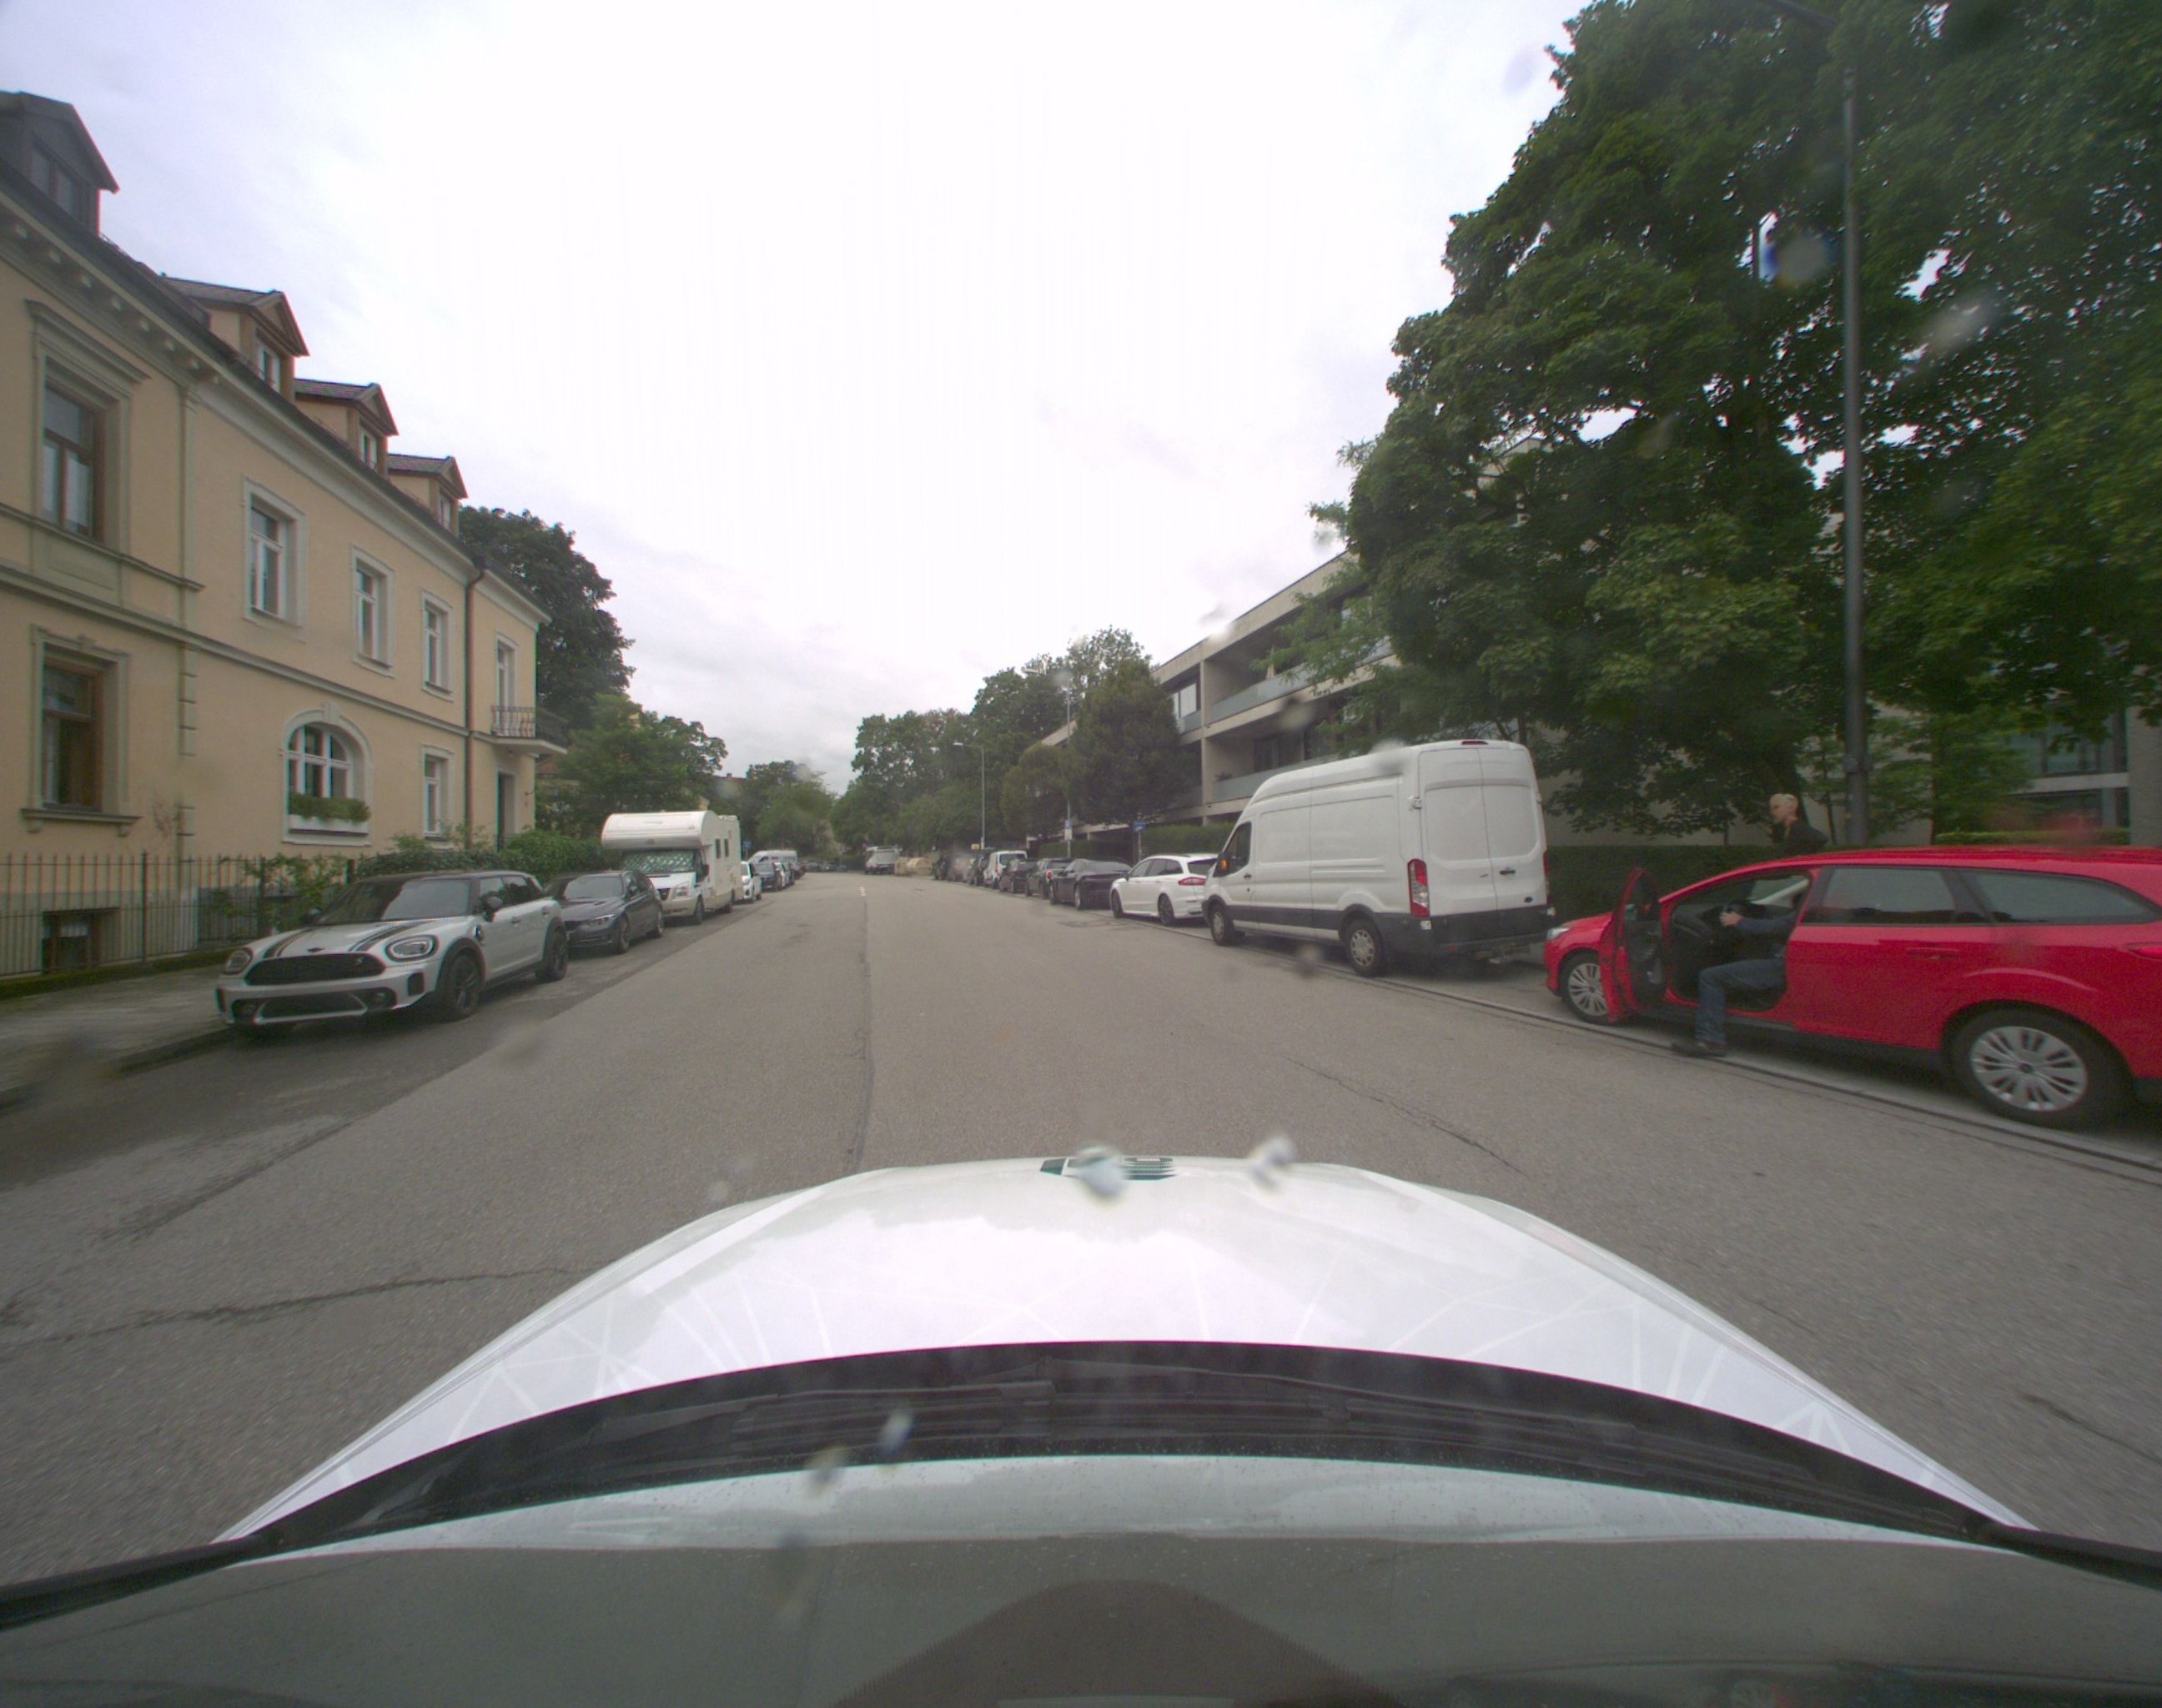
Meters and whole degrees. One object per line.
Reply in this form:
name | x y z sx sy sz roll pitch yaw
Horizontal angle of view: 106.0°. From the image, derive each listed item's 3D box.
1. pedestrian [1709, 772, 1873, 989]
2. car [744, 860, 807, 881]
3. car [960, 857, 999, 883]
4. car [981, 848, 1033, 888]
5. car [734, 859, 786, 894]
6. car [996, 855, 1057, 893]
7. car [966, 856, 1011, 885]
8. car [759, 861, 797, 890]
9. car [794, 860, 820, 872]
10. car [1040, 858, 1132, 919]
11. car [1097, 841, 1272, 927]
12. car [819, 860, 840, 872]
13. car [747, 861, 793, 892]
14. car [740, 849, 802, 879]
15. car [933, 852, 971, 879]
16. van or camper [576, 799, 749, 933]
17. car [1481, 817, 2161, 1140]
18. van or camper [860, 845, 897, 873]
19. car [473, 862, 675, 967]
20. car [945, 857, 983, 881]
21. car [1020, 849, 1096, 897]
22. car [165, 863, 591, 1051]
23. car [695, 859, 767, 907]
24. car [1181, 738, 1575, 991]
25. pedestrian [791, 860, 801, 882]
pedestrian | 6.624 0.229 7.644 0.795 1.903 0.862 0 0 -9
car | -23.769 1.261 63.348 4.358 1.530 1.915 -1 -2 -30
car | -6.231 0.967 49.733 1.752 1.480 3.866 -1 0 -16
car | -3.736 0.660 40.344 1.825 1.860 4.874 1 0 -14
car | -15.921 1.084 40.543 1.849 1.535 4.417 -3 0 -15
car | -2.390 0.797 34.645 1.751 1.464 4.219 -1 0 -16
car | -5.180 0.875 45.259 1.751 1.480 4.573 0 0 -16
car | -18.489 1.269 49.882 1.850 1.535 4.535 -3 0 -17
car | -39.921 1.741 118.723 2.010 1.711 4.828 -2 0 -39
car | 0.011 0.914 24.164 1.284 1.506 5.179 -3 1 -16
car | 2.108 0.564 18.350 1.876 1.569 4.970 -3 1 -19
car | -34.572 1.640 111.877 1.753 1.536 2.912 -2 0 -39
car | -17.183 1.209 45.168 1.849 1.535 4.497 -3 0 -15
car | -27.870 0.868 73.401 2.205 2.563 4.666 -1 0 40
car | -9.565 0.861 60.252 1.993 1.871 5.046 0 -1 -18
van or camper | -10.898 0.258 21.973 2.459 2.940 7.176 -2 0 -14
car | 5.537 0.571 5.949 1.875 1.506 4.810 -3 1 -17
van or camper | -22.142 0.602 88.929 2.285 2.906 7.211 -1 0 -27
car | -9.195 0.971 15.290 1.940 1.508 4.794 -3 0 -17
car | -7.971 0.963 55.154 1.753 1.539 4.541 -1 0 -18
car | -0.917 0.648 29.543 1.730 1.529 4.181 -2 0 -16
car | -7.687 0.939 9.646 1.939 1.535 4.508 -3 0 -15
car | -12.726 0.988 29.814 1.782 1.535 4.205 -3 0 -16
car | 3.712 0.057 11.872 2.085 2.686 6.053 -3 1 -17
pedestrian | -22.008 1.295 62.801 0.593 1.647 0.708 -2 1 -26
